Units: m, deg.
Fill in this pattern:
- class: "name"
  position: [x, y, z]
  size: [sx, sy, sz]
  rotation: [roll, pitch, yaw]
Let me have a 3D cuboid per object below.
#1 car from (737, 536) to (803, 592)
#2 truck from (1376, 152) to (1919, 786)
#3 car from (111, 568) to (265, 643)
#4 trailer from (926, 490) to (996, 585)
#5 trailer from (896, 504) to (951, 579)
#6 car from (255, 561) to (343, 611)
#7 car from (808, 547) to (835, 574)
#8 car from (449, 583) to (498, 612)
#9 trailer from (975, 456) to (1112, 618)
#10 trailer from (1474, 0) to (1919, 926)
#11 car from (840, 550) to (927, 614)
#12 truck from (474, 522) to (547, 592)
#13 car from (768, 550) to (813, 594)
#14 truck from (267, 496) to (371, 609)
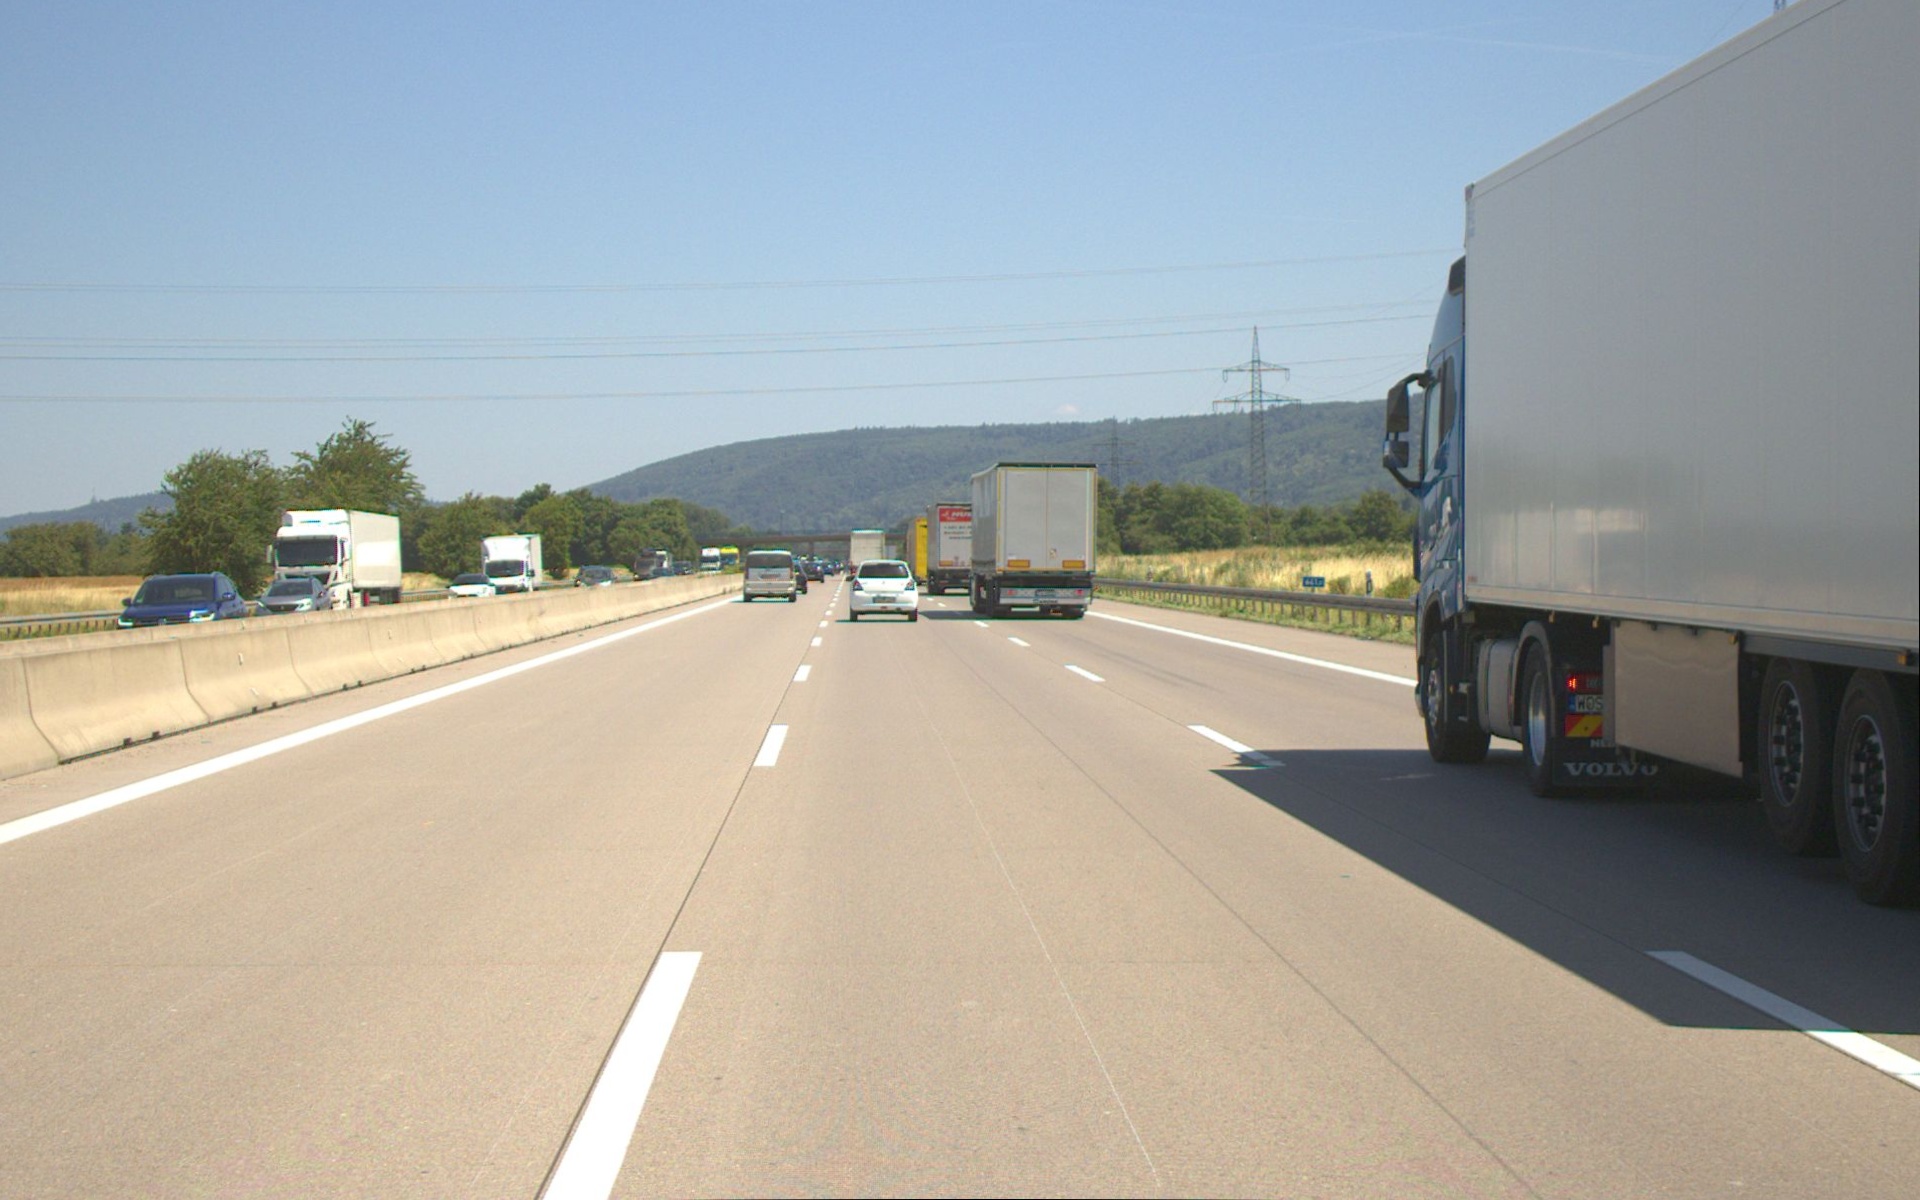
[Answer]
- class: "car"
  position: [-6.964, -1.324, 126.284]
  size: [2.254, 2.007, 4.298]
  rotation: [1, 1, -1]
- class: "truck"
  position: [4.803, -0.868, 24.783]
  size: [2.750, 4.030, 5.466]
  rotation: [1, 1, -2]
- class: "car"
  position: [-13.413, 0.067, 59.949]
  size: [1.771, 1.236, 4.677]
  rotation: [1, 1, -2]
- class: "trailer"
  position: [-0.034, -2.767, 154.574]
  size: [2.873, 4.086, 13.513]
  rotation: [1, 1, -1]
- class: "trailer"
  position: [-2.348, -3.629, 216.193]
  size: [3.216, 4.548, 13.458]
  rotation: [1, 1, -1]
- class: "car"
  position: [-18.707, -0.418, 97.466]
  size: [1.735, 1.368, 4.907]
  rotation: [1, 1, -2]
- class: "car"
  position: [-9.643, -2.742, 239.839]
  size: [1.783, 1.875, 4.000]
  rotation: [1, 1, -1]
- class: "car"
  position: [-19.978, -0.120, 141.277]
  size: [1.680, 1.142, 4.399]
  rotation: [0, 1, -4]
- class: "trailer"
  position: [2.146, -1.682, 93.943]
  size: [3.018, 4.047, 14.208]
  rotation: [1, 1, -1]
- class: "trailer"
  position: [5.023, -0.771, 16.731]
  size: [2.708, 4.030, 12.903]
  rotation: [1, 1, -2]
- class: "car"
  position: [-1.887, -0.464, 85.994]
  size: [2.107, 1.531, 4.122]
  rotation: [1, 1, 0]
- class: "truck"
  position: [-20.420, -1.951, 156.357]
  size: [2.547, 3.131, 7.924]
  rotation: [0, 1, -2]
- class: "car"
  position: [-7.808, -1.295, 158.512]
  size: [1.993, 1.950, 4.000]
  rotation: [1, 1, -1]
- class: "truck"
  position: [-23.484, -1.726, 126.156]
  size: [2.819, 4.030, 5.678]
  rotation: [1, 1, -1]
